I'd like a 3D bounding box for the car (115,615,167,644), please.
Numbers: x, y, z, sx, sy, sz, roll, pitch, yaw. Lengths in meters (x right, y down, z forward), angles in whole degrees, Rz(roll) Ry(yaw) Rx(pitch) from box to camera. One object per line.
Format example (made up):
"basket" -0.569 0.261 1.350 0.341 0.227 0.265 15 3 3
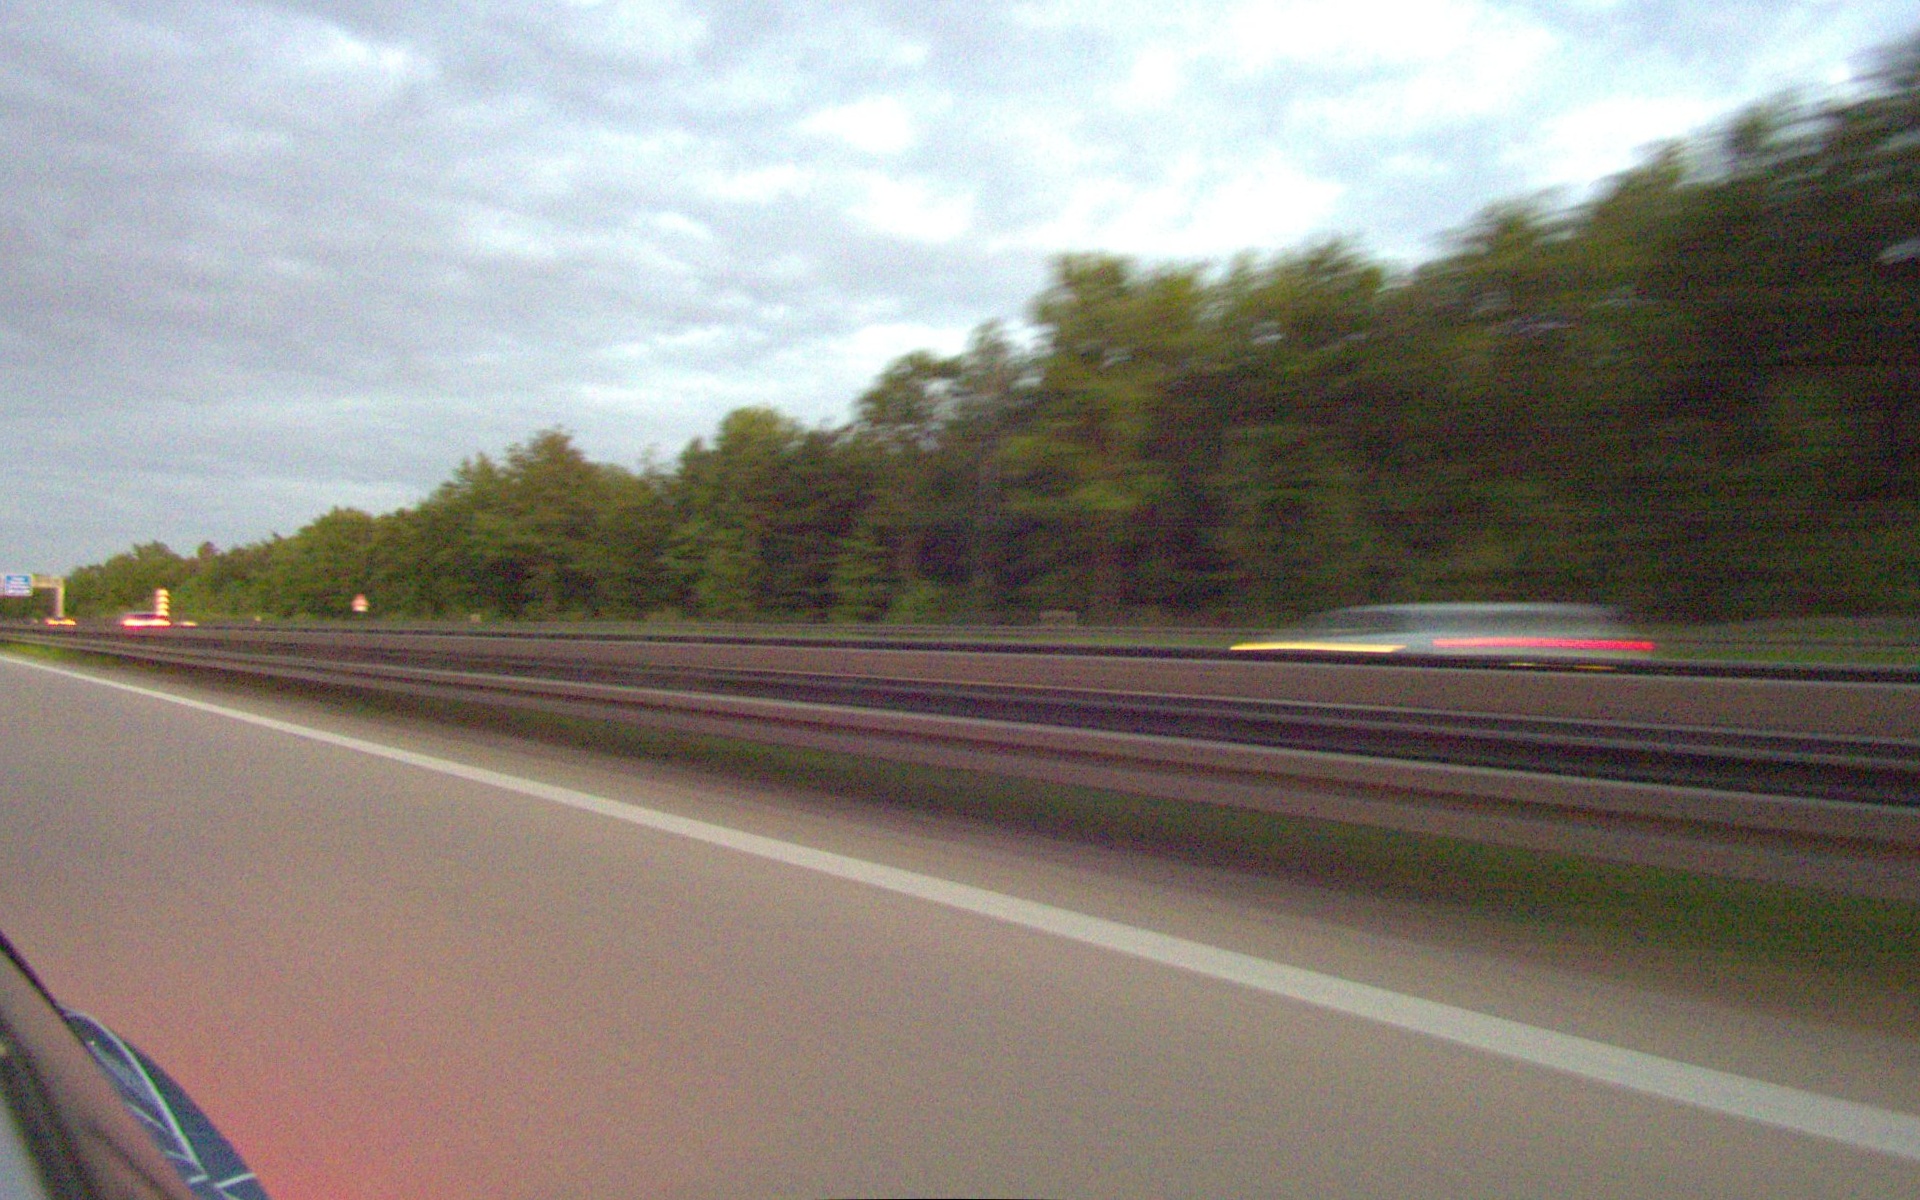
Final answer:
"car" -53.018 1.869 65.492 4.204 1.811 1.973 -1 -1 41

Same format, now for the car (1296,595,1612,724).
"car" 7.880 0.868 16.368 4.206 1.811 1.972 -1 -1 43

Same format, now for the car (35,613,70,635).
"car" -93.989 2.500 104.801 4.368 2.171 1.974 -1 -1 39
